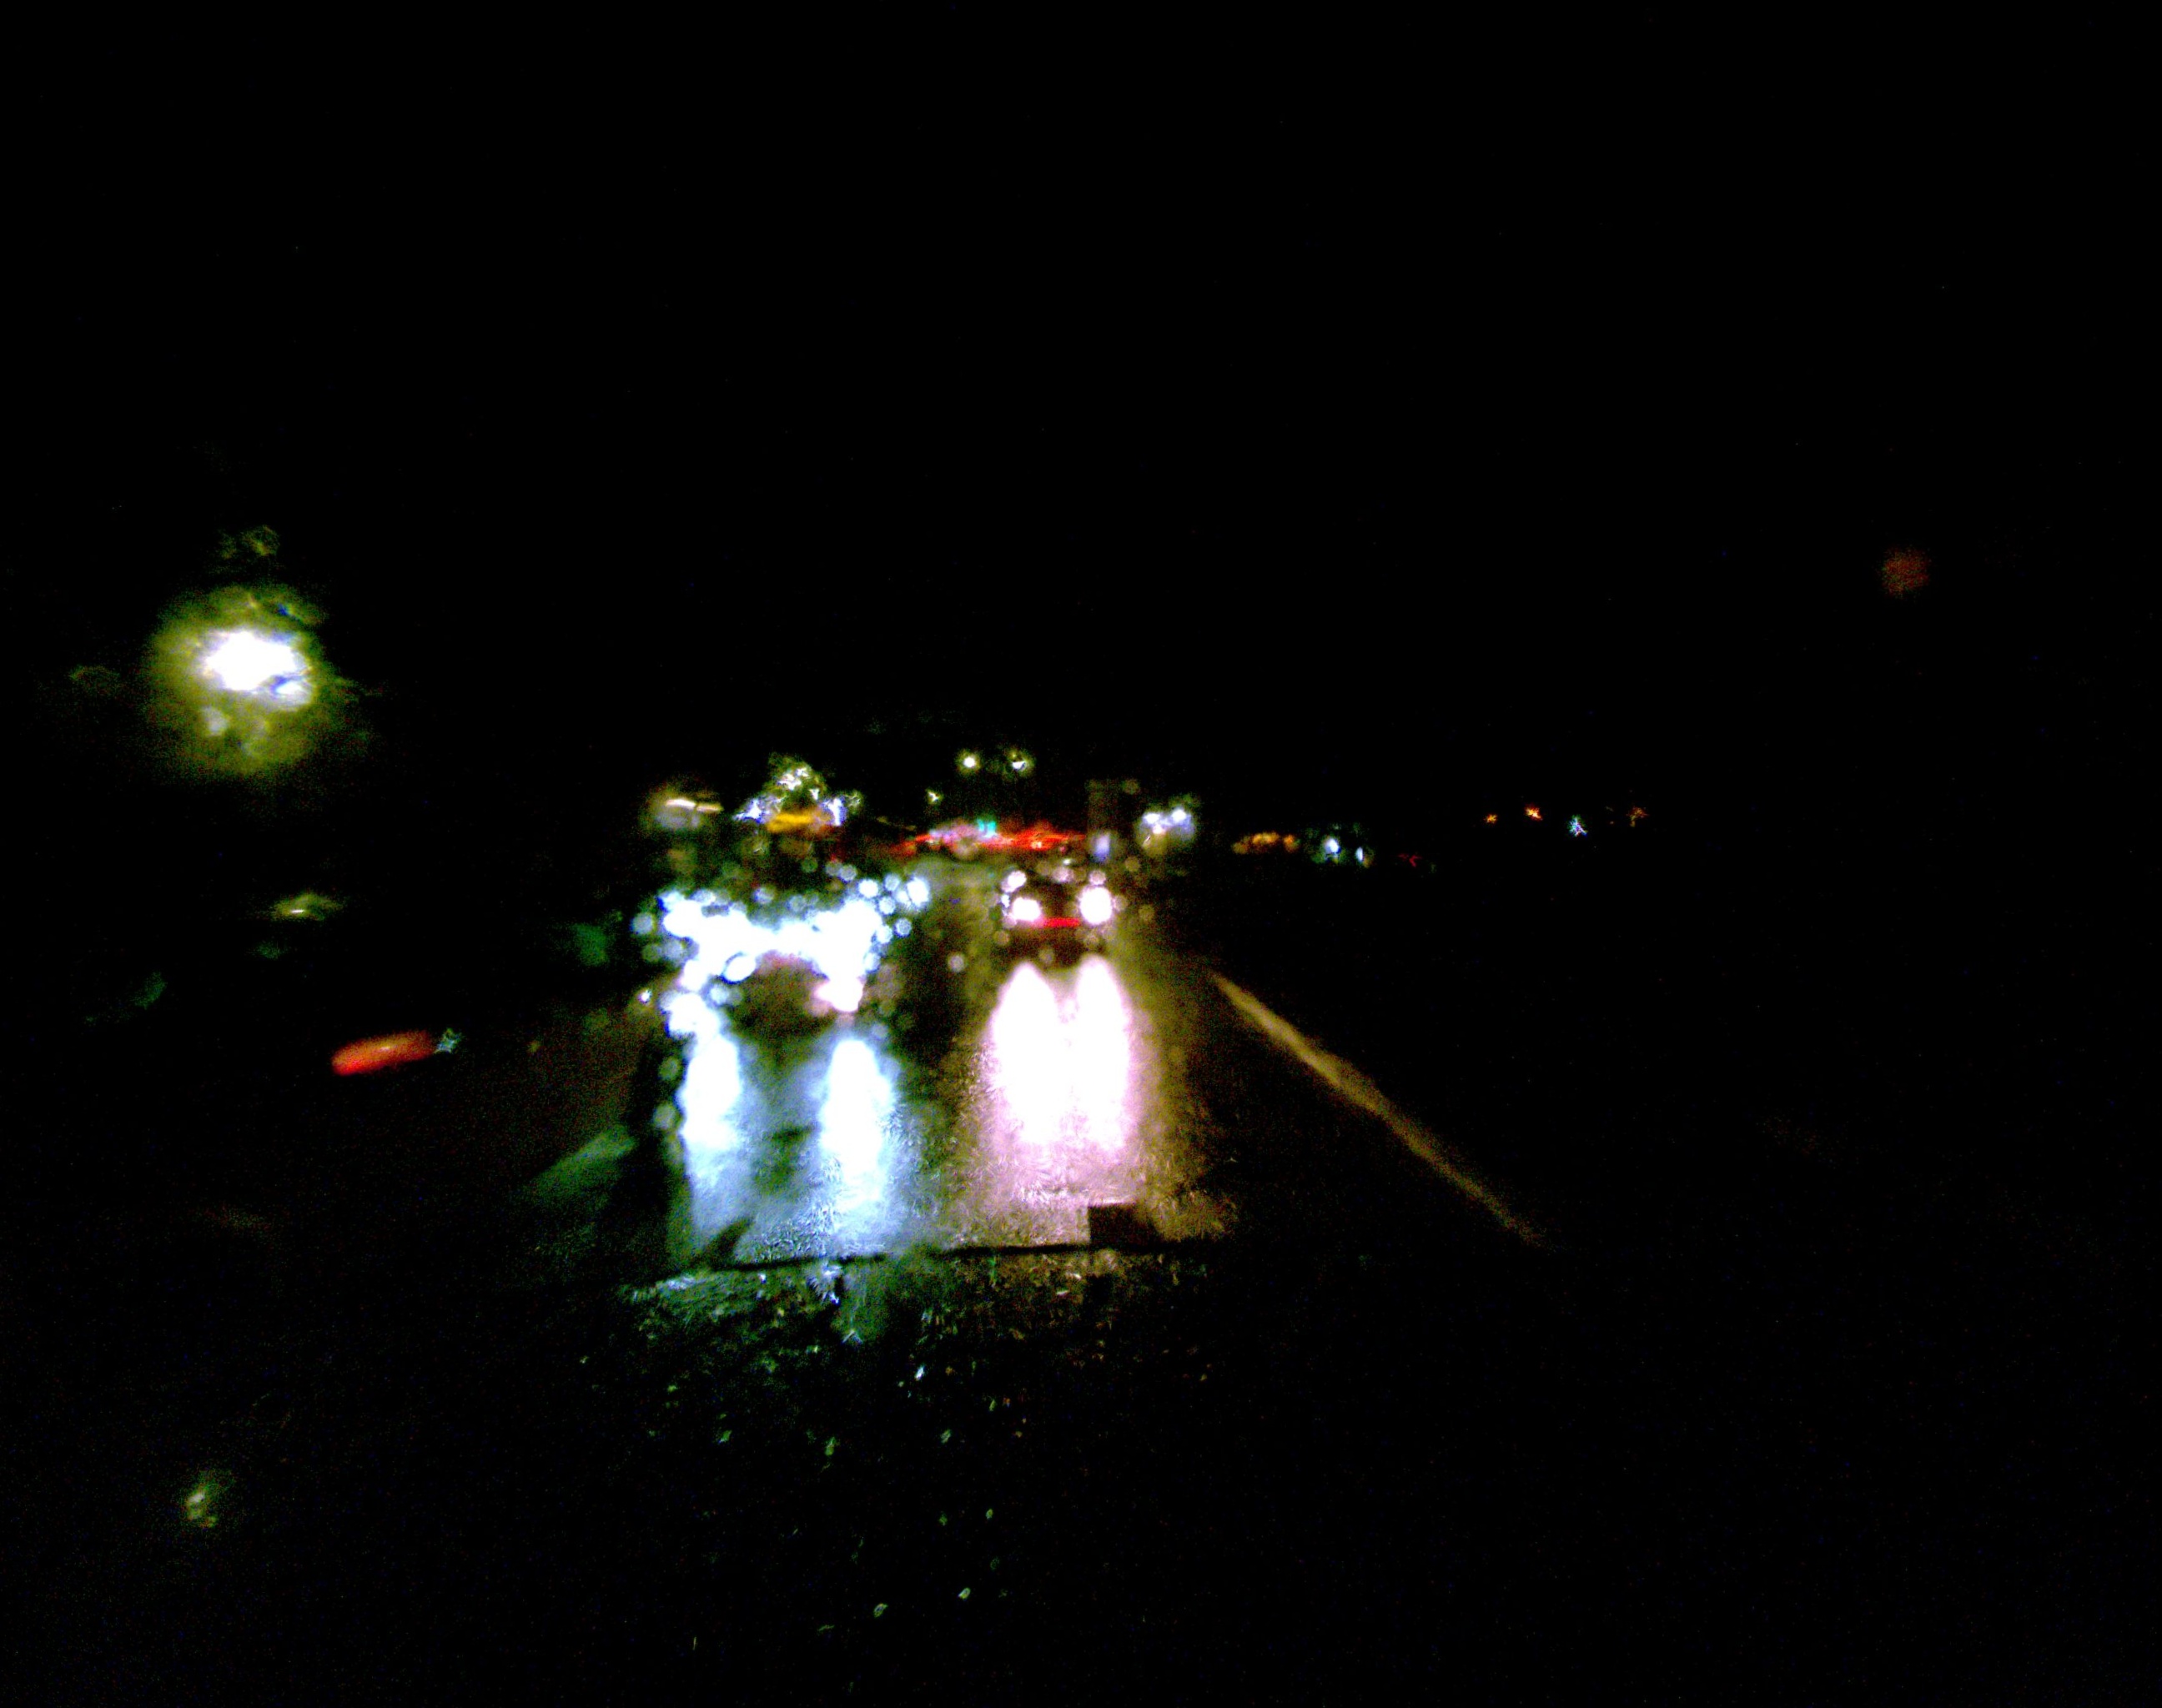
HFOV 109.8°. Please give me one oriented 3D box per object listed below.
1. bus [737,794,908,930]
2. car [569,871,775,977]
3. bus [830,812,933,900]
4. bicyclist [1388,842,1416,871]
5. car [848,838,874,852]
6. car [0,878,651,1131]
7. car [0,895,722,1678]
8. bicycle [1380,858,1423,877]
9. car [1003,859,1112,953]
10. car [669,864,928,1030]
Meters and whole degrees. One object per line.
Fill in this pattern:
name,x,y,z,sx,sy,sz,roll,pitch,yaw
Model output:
bus,-7.418,0.138,23.453,2.742,3.258,9.693,-2,1,-6
car,-7.148,1.127,13.824,1.725,1.478,4.160,0,1,-4
bus,-8.361,0.018,33.122,2.742,3.219,9.693,-2,1,-6
bicyclist,16.443,0.129,38.923,0.630,1.427,1.186,-1,1,-23
car,-23.740,-0.961,81.928,1.712,1.382,3.990,-2,1,-32
car,-6.446,1.082,7.474,1.724,1.478,4.786,-1,1,0
car,-3.165,1.023,2.770,1.724,1.438,4.161,-1,1,0
bicycle,16.426,0.673,38.994,0.629,0.899,2.209,-1,1,-23
car,-0.391,0.854,14.165,1.755,1.438,3.973,0,1,0
car,-3.326,0.989,9.906,1.724,1.478,4.161,-4,1,0
